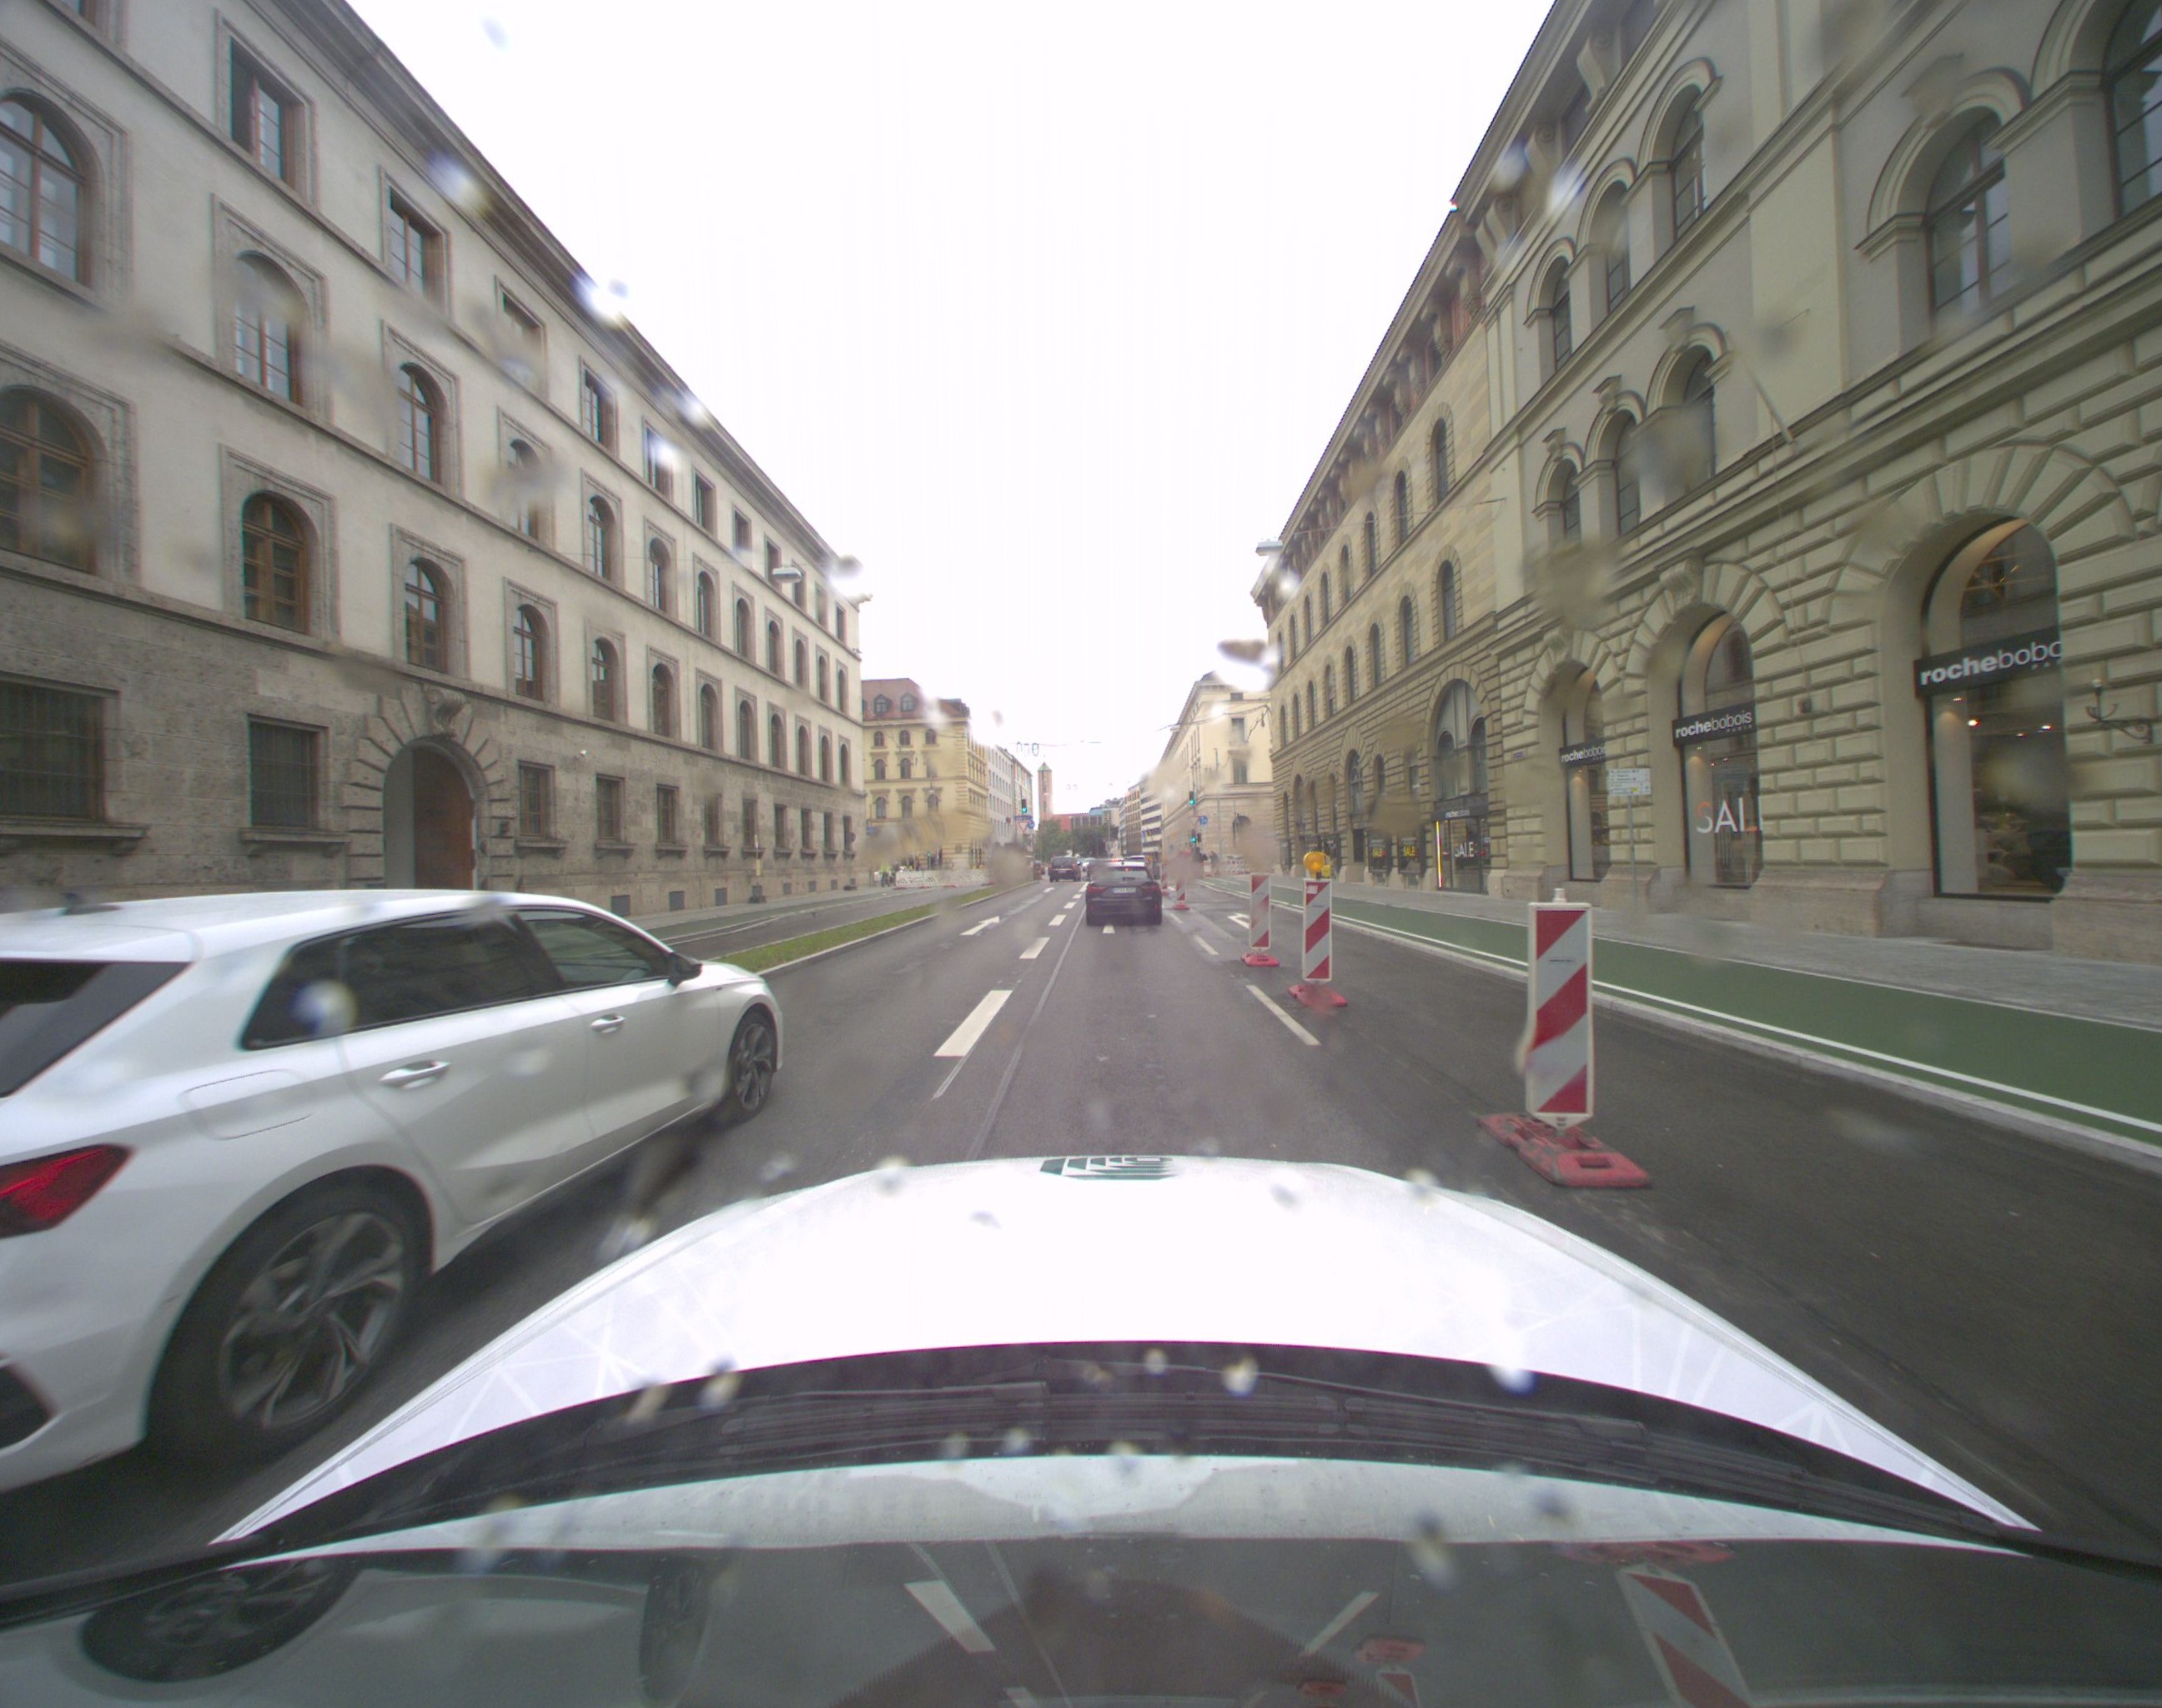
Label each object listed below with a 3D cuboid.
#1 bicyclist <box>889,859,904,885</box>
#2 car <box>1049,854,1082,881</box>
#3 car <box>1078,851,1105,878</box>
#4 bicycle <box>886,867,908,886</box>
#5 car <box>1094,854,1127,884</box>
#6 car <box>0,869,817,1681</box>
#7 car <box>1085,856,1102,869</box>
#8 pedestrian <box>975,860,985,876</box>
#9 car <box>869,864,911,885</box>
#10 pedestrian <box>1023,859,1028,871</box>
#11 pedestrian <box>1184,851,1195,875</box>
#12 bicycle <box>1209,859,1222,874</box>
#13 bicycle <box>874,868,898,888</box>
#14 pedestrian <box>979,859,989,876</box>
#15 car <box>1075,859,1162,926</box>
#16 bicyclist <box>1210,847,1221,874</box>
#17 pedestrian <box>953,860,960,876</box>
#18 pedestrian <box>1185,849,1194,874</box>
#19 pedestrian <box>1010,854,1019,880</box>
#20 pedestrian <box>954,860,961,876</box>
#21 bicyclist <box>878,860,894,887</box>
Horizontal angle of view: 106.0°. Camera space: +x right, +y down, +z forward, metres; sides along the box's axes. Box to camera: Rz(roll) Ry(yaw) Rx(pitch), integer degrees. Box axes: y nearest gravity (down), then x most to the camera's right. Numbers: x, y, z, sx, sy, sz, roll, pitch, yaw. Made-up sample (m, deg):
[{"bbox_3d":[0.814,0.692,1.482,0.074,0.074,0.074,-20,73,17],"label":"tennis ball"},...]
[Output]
[{"bbox_3d":[-12.807,1.258,56.547,0.794,1.776,0.690,-1,0,6],"label":"bicyclist"},{"bbox_3d":[-0.971,0.859,52.038,1.858,1.601,3.852,-2,0,2],"label":"car"},{"bbox_3d":[0.855,0.802,64.721,1.986,2.013,4.001,-2,0,1],"label":"car"},{"bbox_3d":[-12.806,1.547,56.614,0.783,1.242,2.203,-1,0,6],"label":"bicycle"},{"bbox_3d":[1.650,0.818,46.447,1.763,1.617,4.000,-1,0,0],"label":"car"},{"bbox_3d":[-2.845,0.826,3.567,1.806,1.424,4.453,-1,0,1],"label":"car"},{"bbox_3d":[1.510,1.010,99.048,1.986,1.524,4.234,-2,0,1],"label":"car"},{"bbox_3d":[-11.020,1.504,89.046,0.727,1.772,0.765,-1,0,23],"label":"pedestrian"},{"bbox_3d":[-18.204,1.967,77.797,3.740,1.798,1.862,-2,-1,-10],"label":"car"},{"bbox_3d":[-8.810,1.740,129.927,0.734,1.772,0.736,-1,0,1],"label":"pedestrian"},{"bbox_3d":[7.406,0.605,55.506,0.699,1.567,0.542,-1,0,4],"label":"pedestrian"},{"bbox_3d":[9.237,0.849,55.977,0.583,1.011,1.656,-1,0,0],"label":"bicycle"},{"bbox_3d":[-12.843,1.540,53.720,0.783,1.242,2.453,-1,0,6],"label":"bicycle"},{"bbox_3d":[-10.704,1.500,89.787,0.727,1.772,0.743,-1,0,23],"label":"pedestrian"},{"bbox_3d":[0.880,0.835,19.583,1.856,1.388,4.002,-1,0,2],"label":"car"},{"bbox_3d":[9.231,0.445,55.987,0.564,1.854,0.799,-1,0,0],"label":"bicyclist"},{"bbox_3d":[-13.489,1.537,88.295,0.733,1.772,0.737,-1,0,-8],"label":"pedestrian"},{"bbox_3d":[7.135,0.473,53.587,0.529,1.620,0.674,-1,0,4],"label":"pedestrian"},{"bbox_3d":[-4.418,0.856,54.197,0.512,1.743,1.040,-2,0,-8],"label":"pedestrian"},{"bbox_3d":[-13.546,1.523,89.044,0.733,1.772,0.737,-1,0,-8],"label":"pedestrian"},{"bbox_3d":[-12.855,1.272,53.656,0.794,1.748,0.690,-1,0,6],"label":"bicyclist"}]
